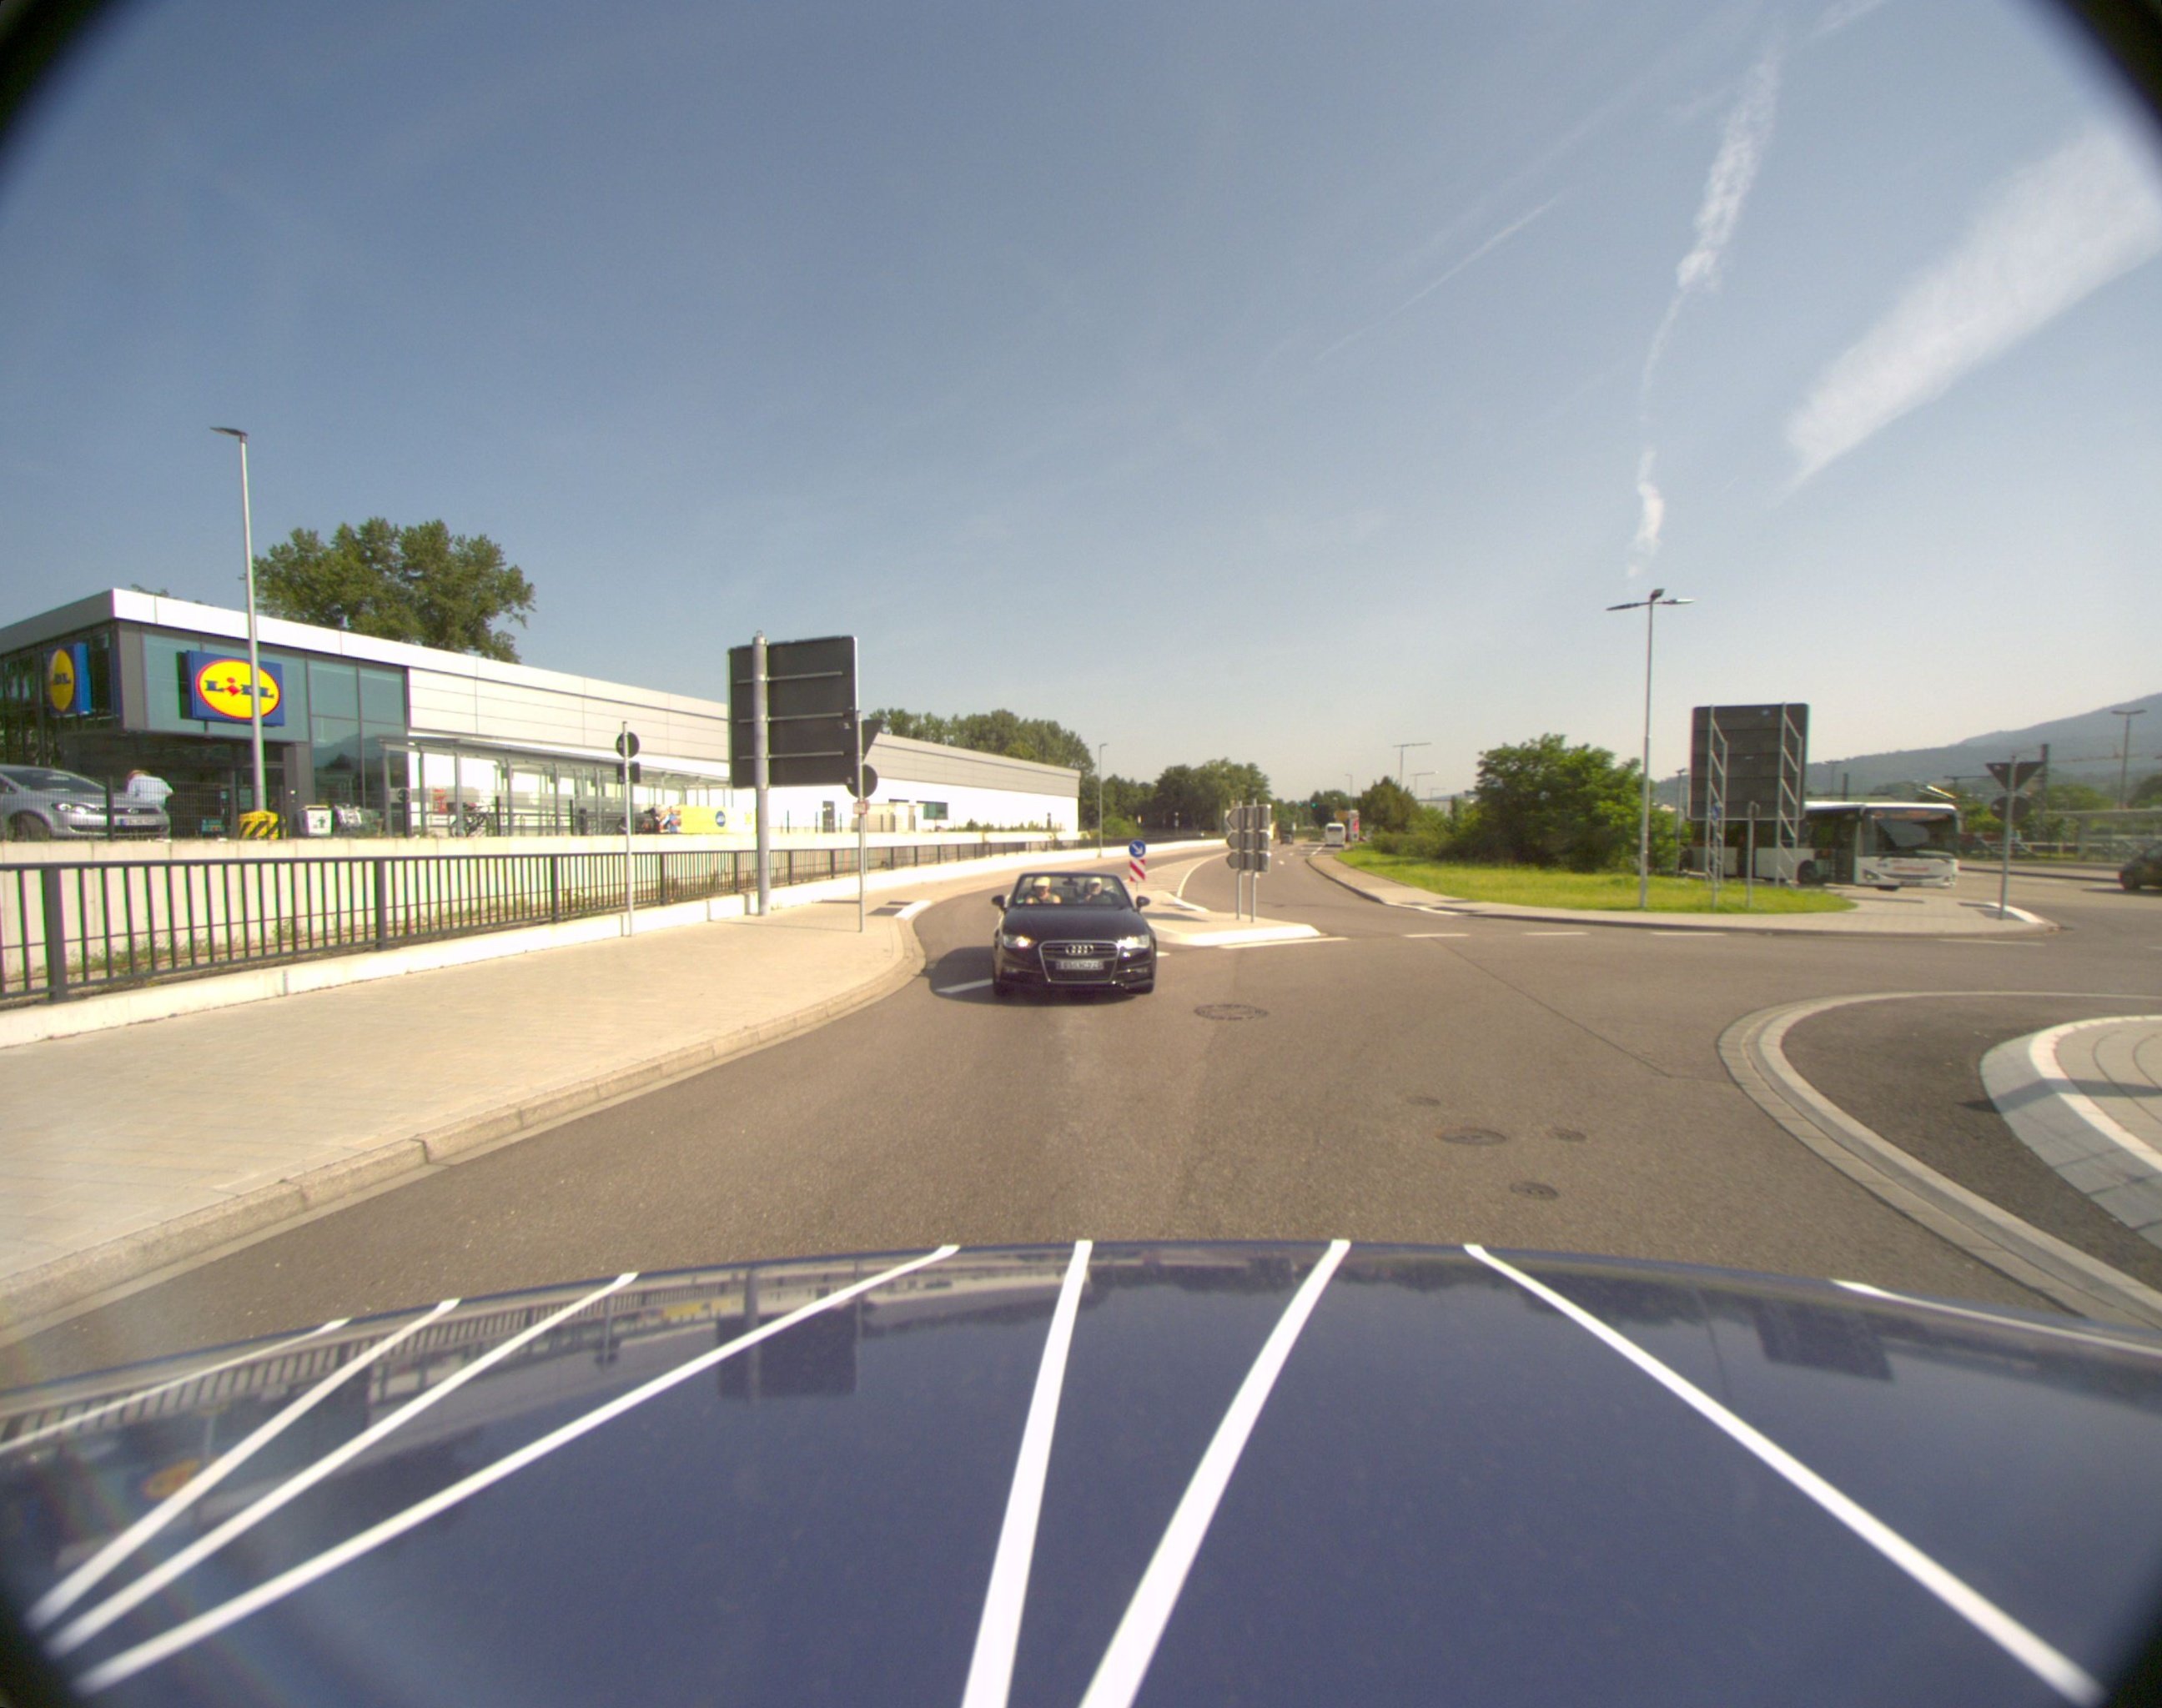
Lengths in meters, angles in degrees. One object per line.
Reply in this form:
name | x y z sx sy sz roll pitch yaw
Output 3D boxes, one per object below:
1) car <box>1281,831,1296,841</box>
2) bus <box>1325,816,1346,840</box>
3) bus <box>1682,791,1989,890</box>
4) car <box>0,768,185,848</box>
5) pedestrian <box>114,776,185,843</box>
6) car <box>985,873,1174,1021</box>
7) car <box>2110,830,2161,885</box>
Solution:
car | 31.721 -2.823 116.156 1.774 1.465 4.224 2 3 20
bus | 36.294 -3.758 108.254 2.623 3.292 11.969 2 3 19
bus | 28.426 -0.563 29.867 3.068 3.106 11.732 1 2 15
car | -19.272 -0.815 13.877 3.815 1.357 1.680 0 2 1
pedestrian | -18.659 -0.884 15.238 0.548 1.305 0.656 1 3 3
car | -0.131 0.966 9.621 1.869 1.323 4.230 0 0 -3
car | 38.871 0.175 26.154 1.841 1.935 4.889 2 3 24
